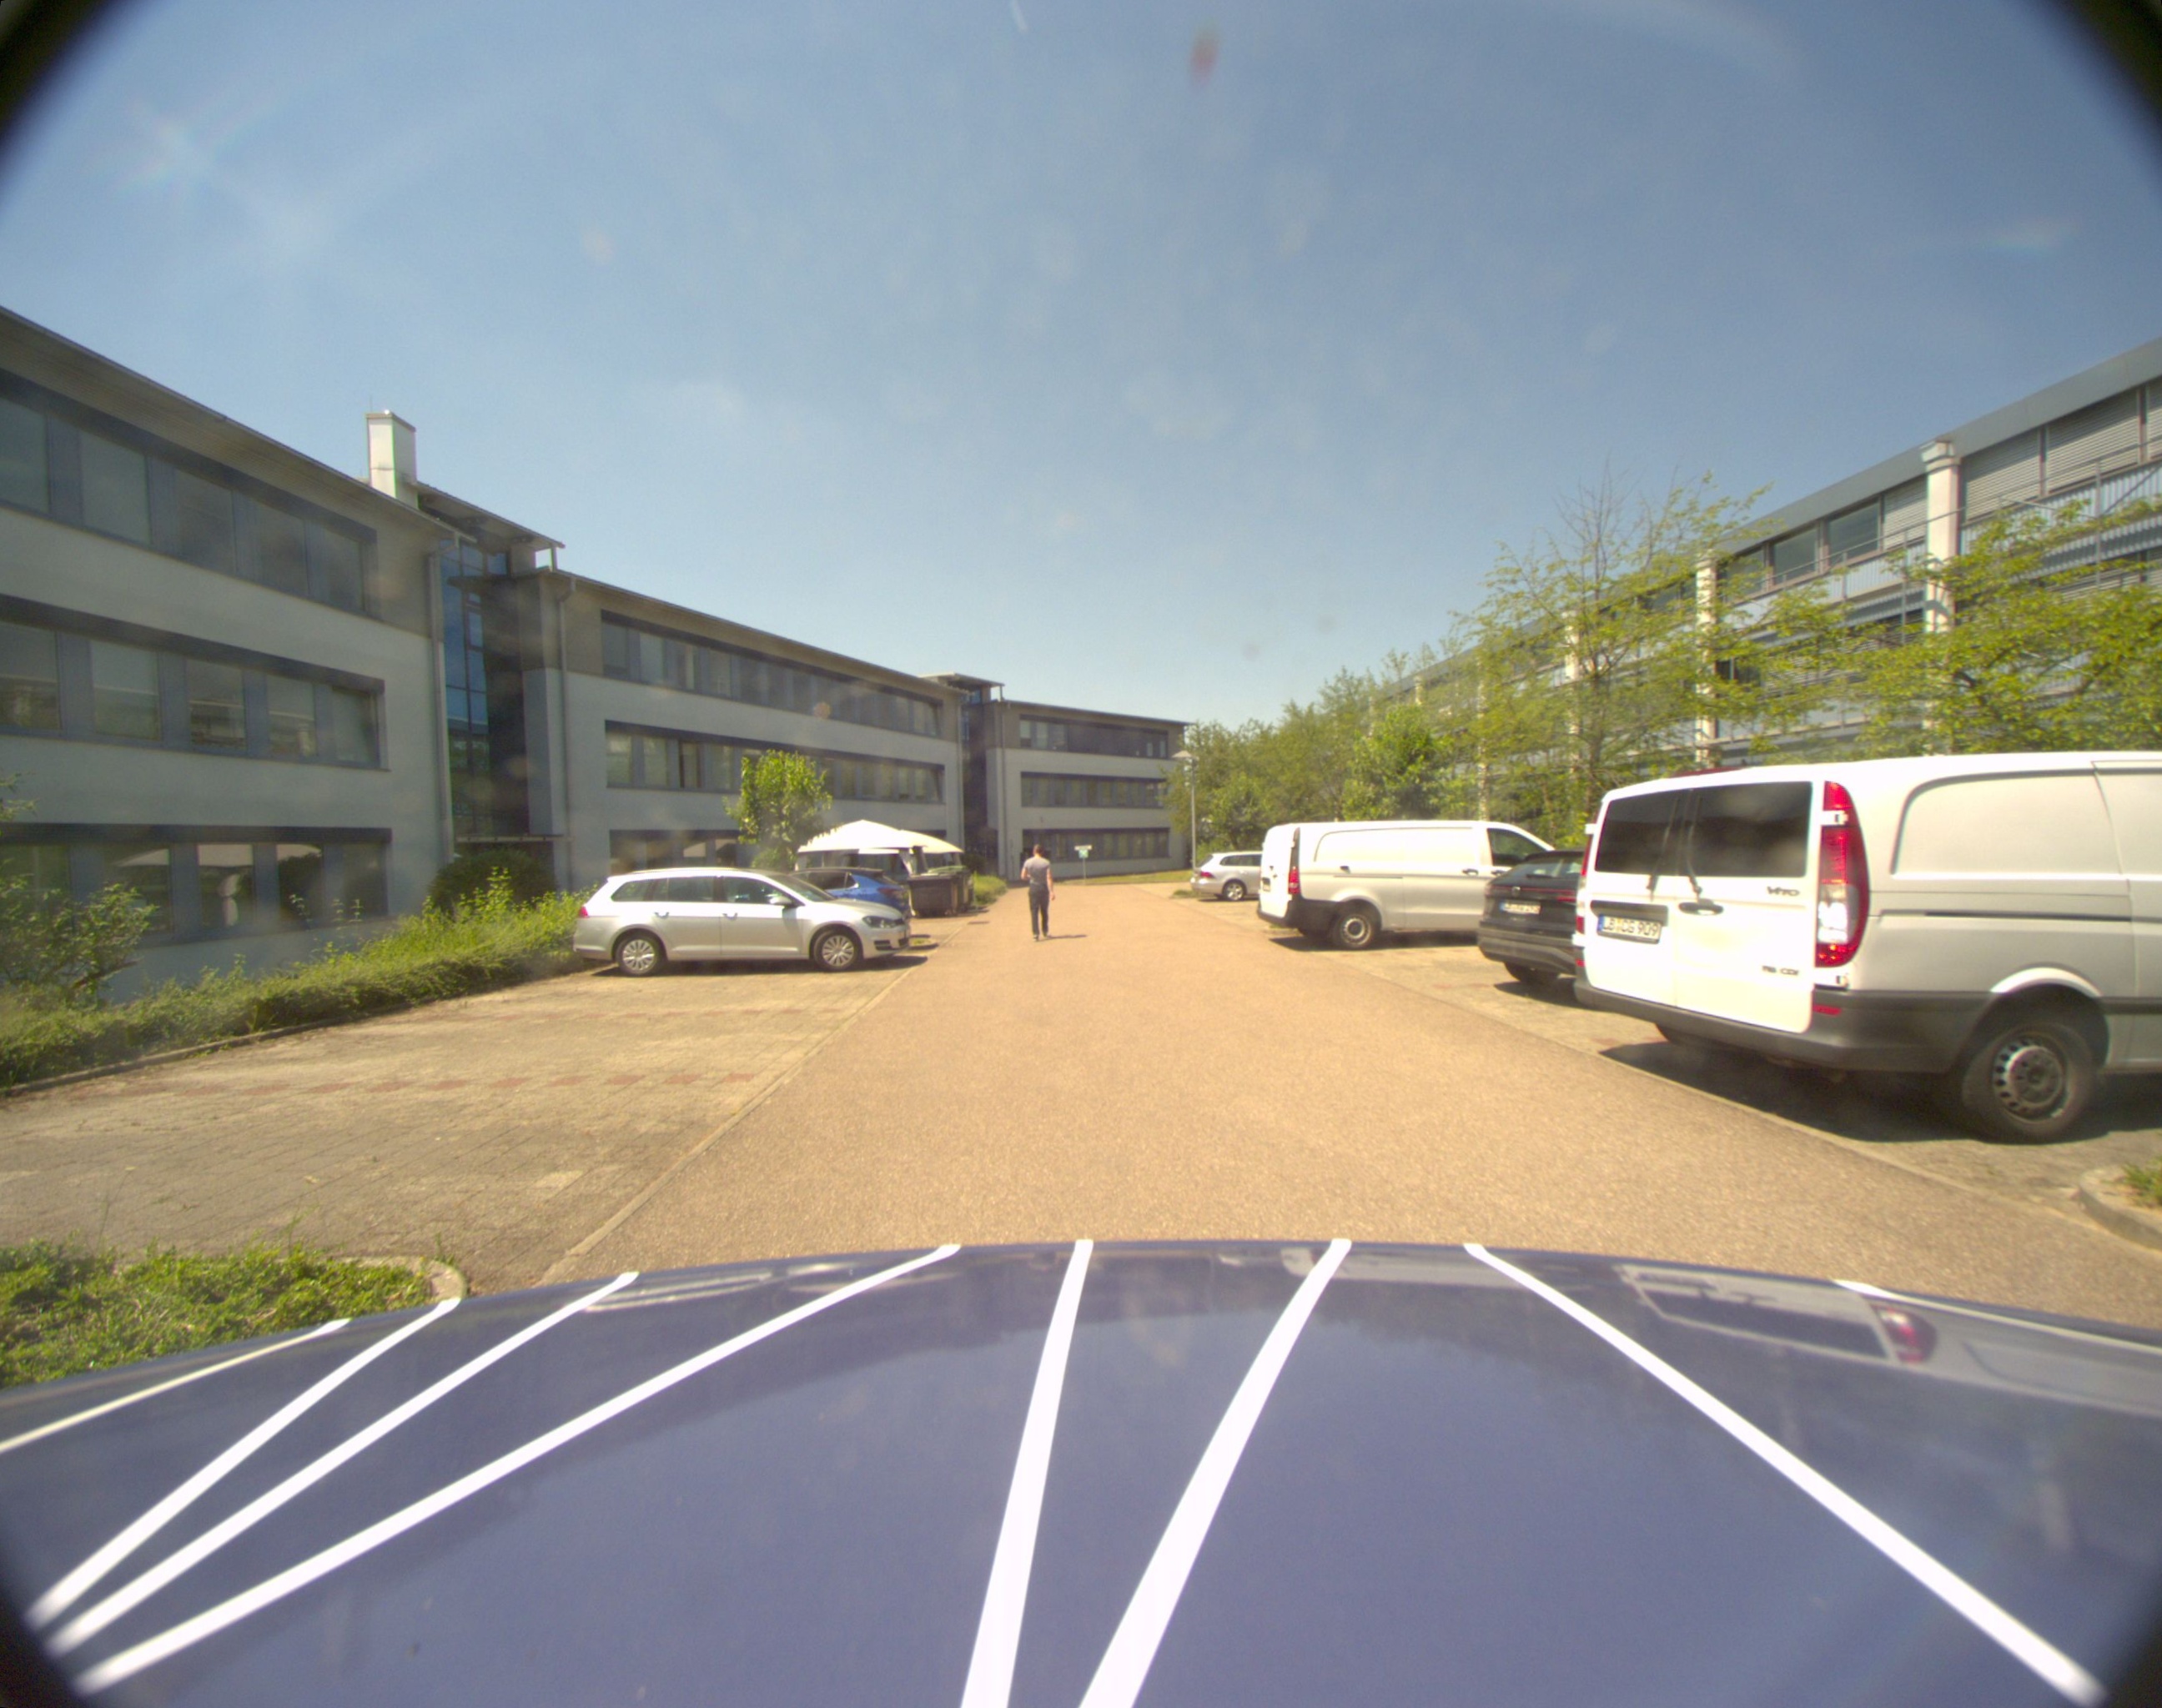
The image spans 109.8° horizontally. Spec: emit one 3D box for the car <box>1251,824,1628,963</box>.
[{"bbox_3d":[5.319,0.554,11.726,4.932,1.845,1.856,-1,0,-1],"label":"car"}]

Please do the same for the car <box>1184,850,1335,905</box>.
[{"bbox_3d":[5.269,0.673,22.757,4.082,1.475,1.739,-1,0,0],"label":"car"}]

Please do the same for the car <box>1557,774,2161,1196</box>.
[{"bbox_3d":[5.671,0.542,4.435,4.675,1.849,1.868,-1,0,-3],"label":"car"}]

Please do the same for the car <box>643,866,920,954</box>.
[{"bbox_3d":[-5.598,1.021,14.702,4.610,1.485,1.856,-1,0,-3],"label":"car"}]

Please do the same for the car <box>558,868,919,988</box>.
[{"bbox_3d":[-4.761,1.001,11.126,4.425,1.511,1.856,-1,0,-3],"label":"car"}]

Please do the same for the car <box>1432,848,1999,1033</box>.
[{"bbox_3d":[5.936,0.733,7.433,4.196,1.475,1.739,-1,0,-3],"label":"car"}]

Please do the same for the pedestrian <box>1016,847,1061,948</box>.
[{"bbox_3d":[-0.763,0.765,13.785,0.698,1.747,0.777,-2,1,1],"label":"pedestrian"}]
